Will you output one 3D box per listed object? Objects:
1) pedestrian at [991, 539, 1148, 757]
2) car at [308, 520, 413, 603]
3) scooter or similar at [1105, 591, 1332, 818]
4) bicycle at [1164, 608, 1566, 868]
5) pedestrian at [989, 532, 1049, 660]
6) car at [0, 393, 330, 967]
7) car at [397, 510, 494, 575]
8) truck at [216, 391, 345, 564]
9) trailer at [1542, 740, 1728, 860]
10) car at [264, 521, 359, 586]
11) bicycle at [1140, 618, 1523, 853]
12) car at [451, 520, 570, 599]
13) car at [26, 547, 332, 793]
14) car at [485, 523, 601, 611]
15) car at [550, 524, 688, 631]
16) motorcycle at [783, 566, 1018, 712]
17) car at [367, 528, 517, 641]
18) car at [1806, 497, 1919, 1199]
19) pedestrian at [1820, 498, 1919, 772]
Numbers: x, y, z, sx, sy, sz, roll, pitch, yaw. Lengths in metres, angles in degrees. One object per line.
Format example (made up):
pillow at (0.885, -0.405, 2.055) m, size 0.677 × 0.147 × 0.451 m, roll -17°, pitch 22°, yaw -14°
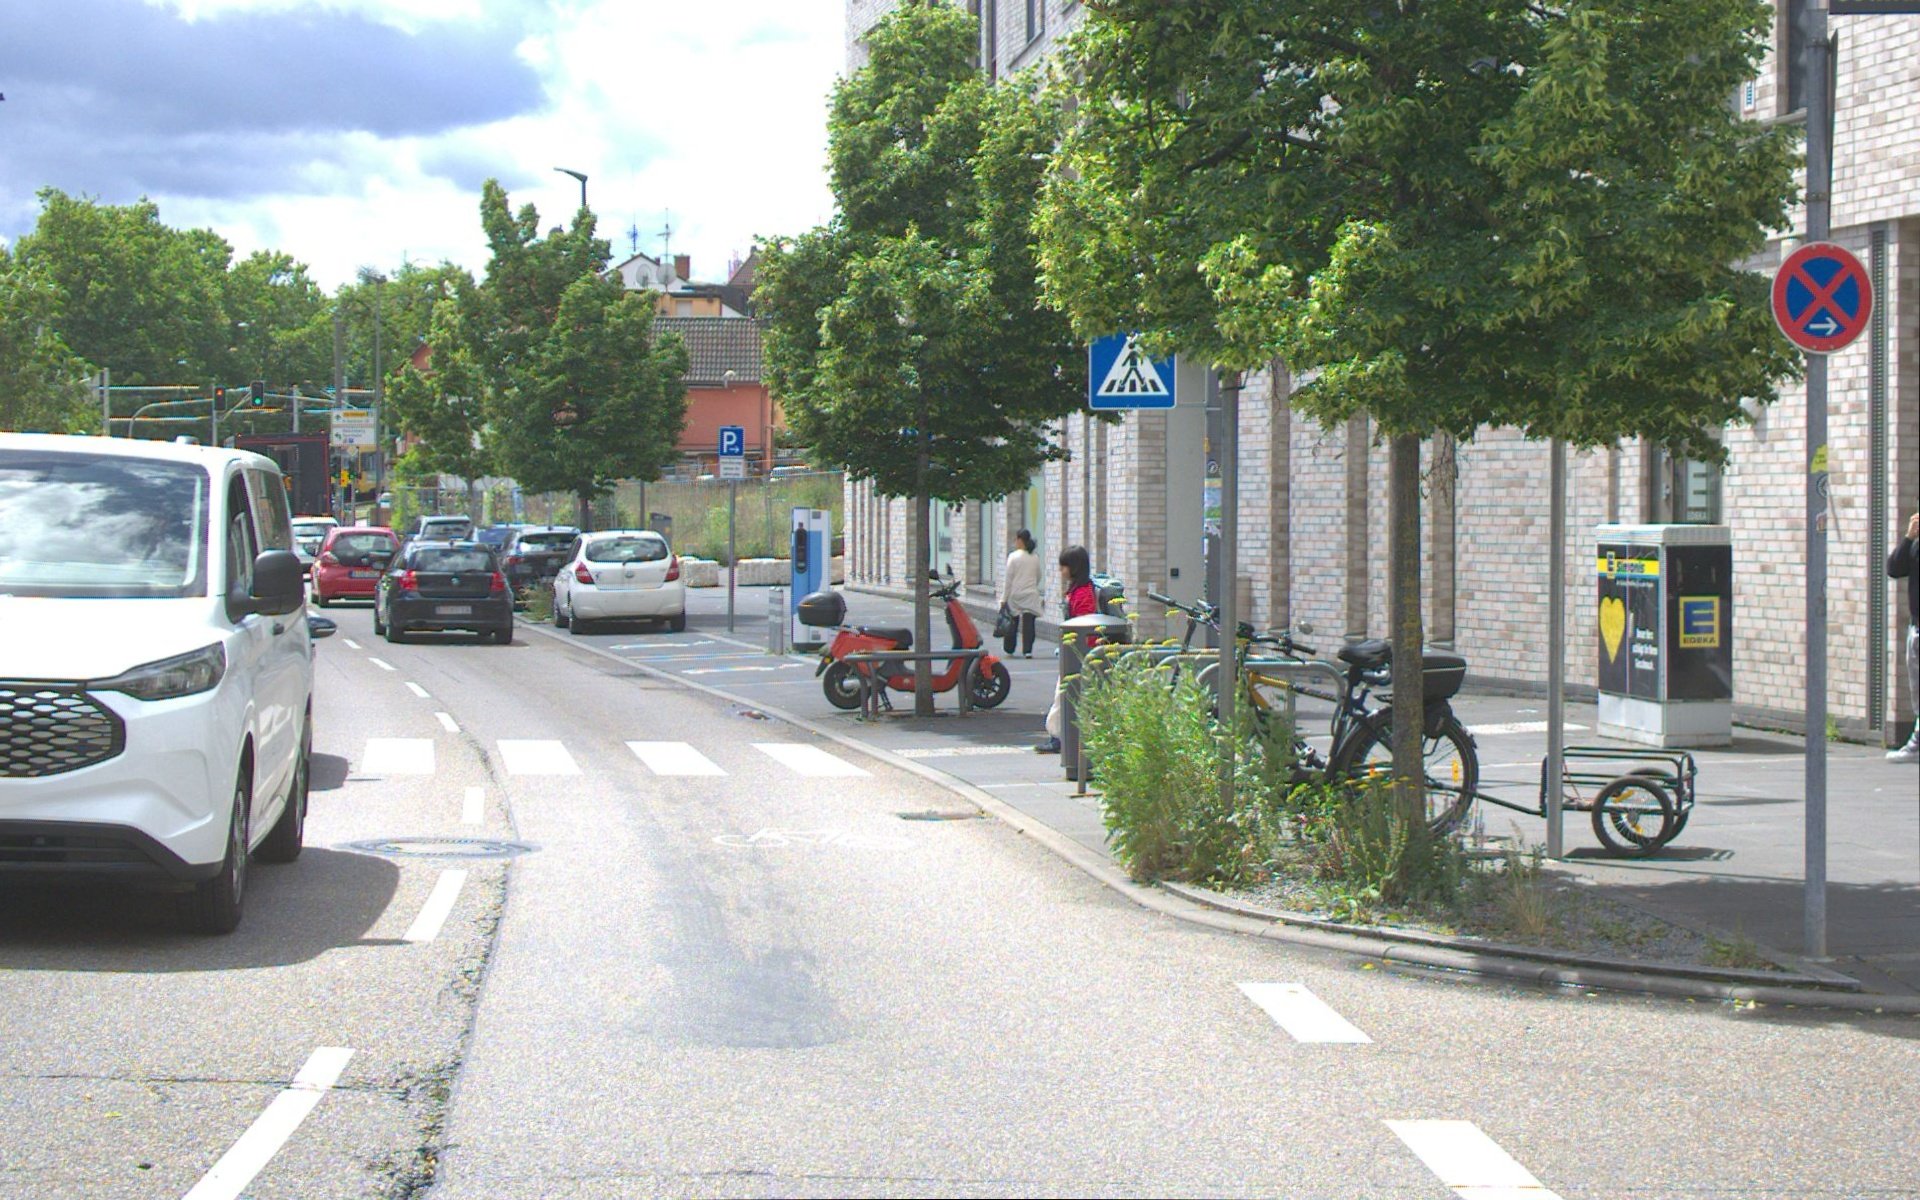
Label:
pedestrian at (0.795, 0.351, 25.189) m, size 0.927 × 1.560 × 0.815 m, roll 1°, pitch -1°, yaw -14°
car at (-10.939, -0.722, 62.598) m, size 1.711 × 1.388 × 3.810 m, roll -1°, pitch 2°, yaw -12°
scooter or similar at (1.464, 0.586, 19.552) m, size 1.196 × 1.245 × 0.494 m, roll -1°, pitch 1°, yaw -6°
bicycle at (1.972, 0.660, 16.879) m, size 1.822 × 1.197 × 0.756 m, roll -1°, pitch 1°, yaw -6°
pedestrian at (0.697, -0.055, 40.585) m, size 0.607 × 1.467 × 0.791 m, roll -1°, pitch 2°, yaw -5°
car at (-3.912, 0.229, 14.758) m, size 1.993 × 2.007 × 5.395 m, roll 2°, pitch 1°, yaw -7°
car at (-12.255, -1.386, 81.693) m, size 1.781 × 1.446 × 4.478 m, roll -2°, pitch 2°, yaw -14°
truck at (-19.280, -3.336, 97.134) m, size 3.202 × 4.520 × 9.031 m, roll 1°, pitch 0°, yaw -13°
trailer at (3.279, 0.968, 16.757) m, size 0.719 × 0.526 × 0.811 m, roll 0°, pitch 0°, yaw -2°
car at (-15.233, -1.096, 80.628) m, size 1.887 × 1.460 × 4.070 m, roll -1°, pitch 1°, yaw -15°
bicycle at (1.893, 0.680, 17.657) m, size 1.822 × 1.127 × 0.756 m, roll -1°, pitch 1°, yaw -6°
car at (-8.856, -0.824, 67.413) m, size 1.864 × 1.446 × 4.645 m, roll -2°, pitch 2°, yaw -13°
car at (-5.149, 0.401, 23.109) m, size 1.772 × 1.459 × 4.235 m, roll 1°, pitch 1°, yaw -10°
car at (-7.422, -0.617, 60.996) m, size 1.692 × 1.456 × 4.148 m, roll -2°, pitch 2°, yaw -11°
car at (-5.170, -0.369, 51.818) m, size 1.692 × 1.478 × 3.799 m, roll -2°, pitch 2°, yaw -11°
motorcycle at (-0.532, 0.353, 31.425) m, size 2.050 × 1.261 × 0.672 m, roll -2°, pitch 0°, yaw 5°
car at (-7.335, -0.249, 48.442) m, size 1.726 × 1.451 × 3.810 m, roll -1°, pitch 2°, yaw -14°
car at (4.236, 0.601, 7.385) m, size 4.517 × 1.740 × 2.000 m, roll -2°, pitch 1°, yaw -29°
pedestrian at (6.195, 0.213, 22.278) m, size 1.014 × 1.735 × 0.660 m, roll -1°, pitch 1°, yaw -16°
